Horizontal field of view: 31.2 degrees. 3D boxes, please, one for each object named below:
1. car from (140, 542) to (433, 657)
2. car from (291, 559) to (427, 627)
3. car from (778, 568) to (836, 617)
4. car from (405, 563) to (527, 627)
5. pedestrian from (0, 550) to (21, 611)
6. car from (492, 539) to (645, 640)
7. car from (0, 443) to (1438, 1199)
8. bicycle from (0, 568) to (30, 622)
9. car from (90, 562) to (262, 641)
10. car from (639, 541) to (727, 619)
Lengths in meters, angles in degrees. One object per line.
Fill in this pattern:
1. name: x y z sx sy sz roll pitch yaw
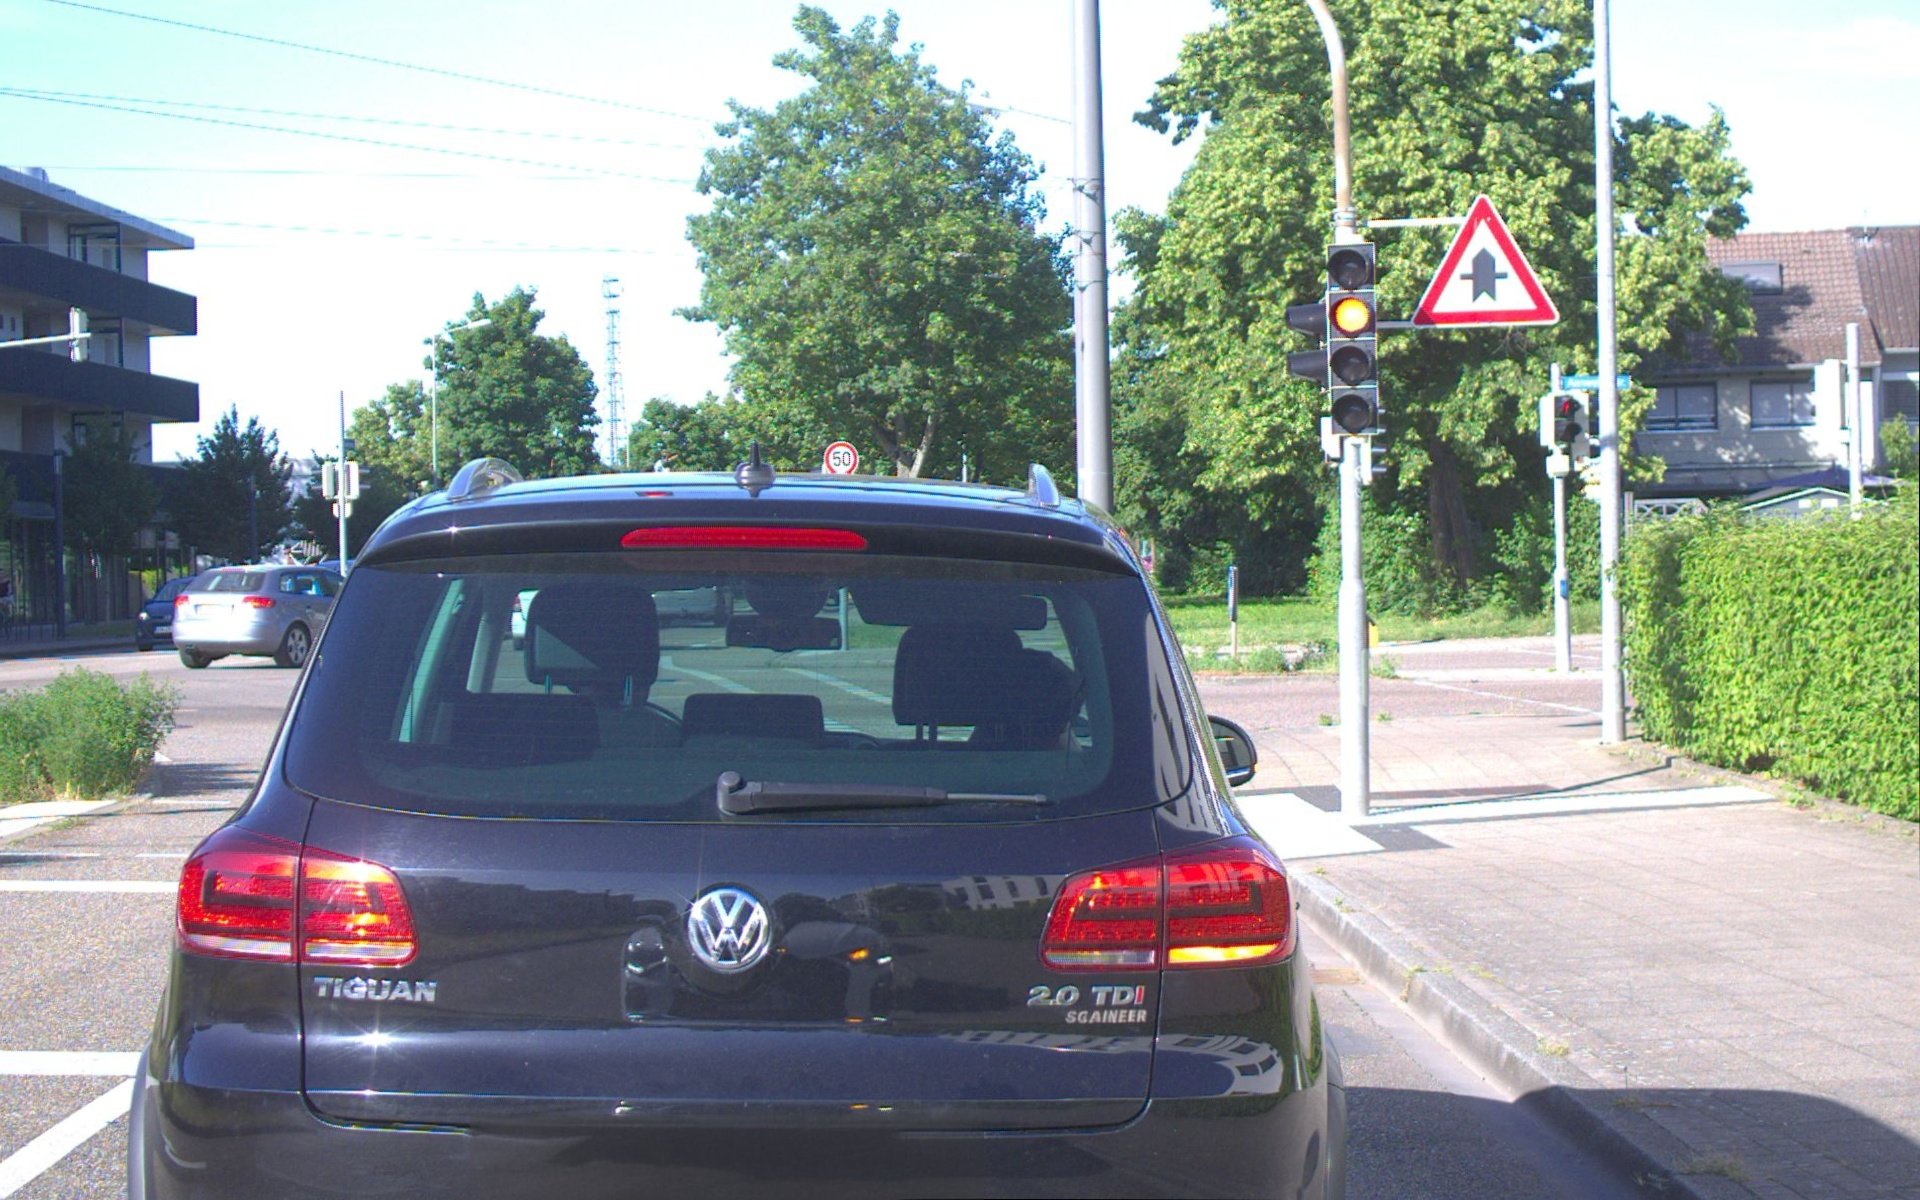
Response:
1. car: -9.347 -0.031 48.035 1.866 1.480 4.104 -1 1 26
2. car: -14.328 -0.178 82.198 1.994 1.569 4.338 1 1 7
3. car: -5.414 -0.286 122.128 1.993 1.678 4.000 1 1 -2
4. car: -12.554 -0.147 87.568 1.994 1.569 4.338 1 1 7
5. pedestrian: -23.868 -0.484 85.817 0.642 1.504 0.596 1 0 2
6. car: -6.905 -0.213 61.027 1.864 1.714 3.686 -1 1 7
7. car: -0.342 0.603 6.500 1.869 1.632 4.000 1 1 -1
8. bicycle: -23.853 -0.130 85.992 0.630 1.327 1.913 1 1 1
9. car: -16.270 0.018 71.586 1.994 1.569 4.337 1 1 9
10. car: -6.751 -0.492 84.071 1.993 1.830 4.000 1 1 -3
